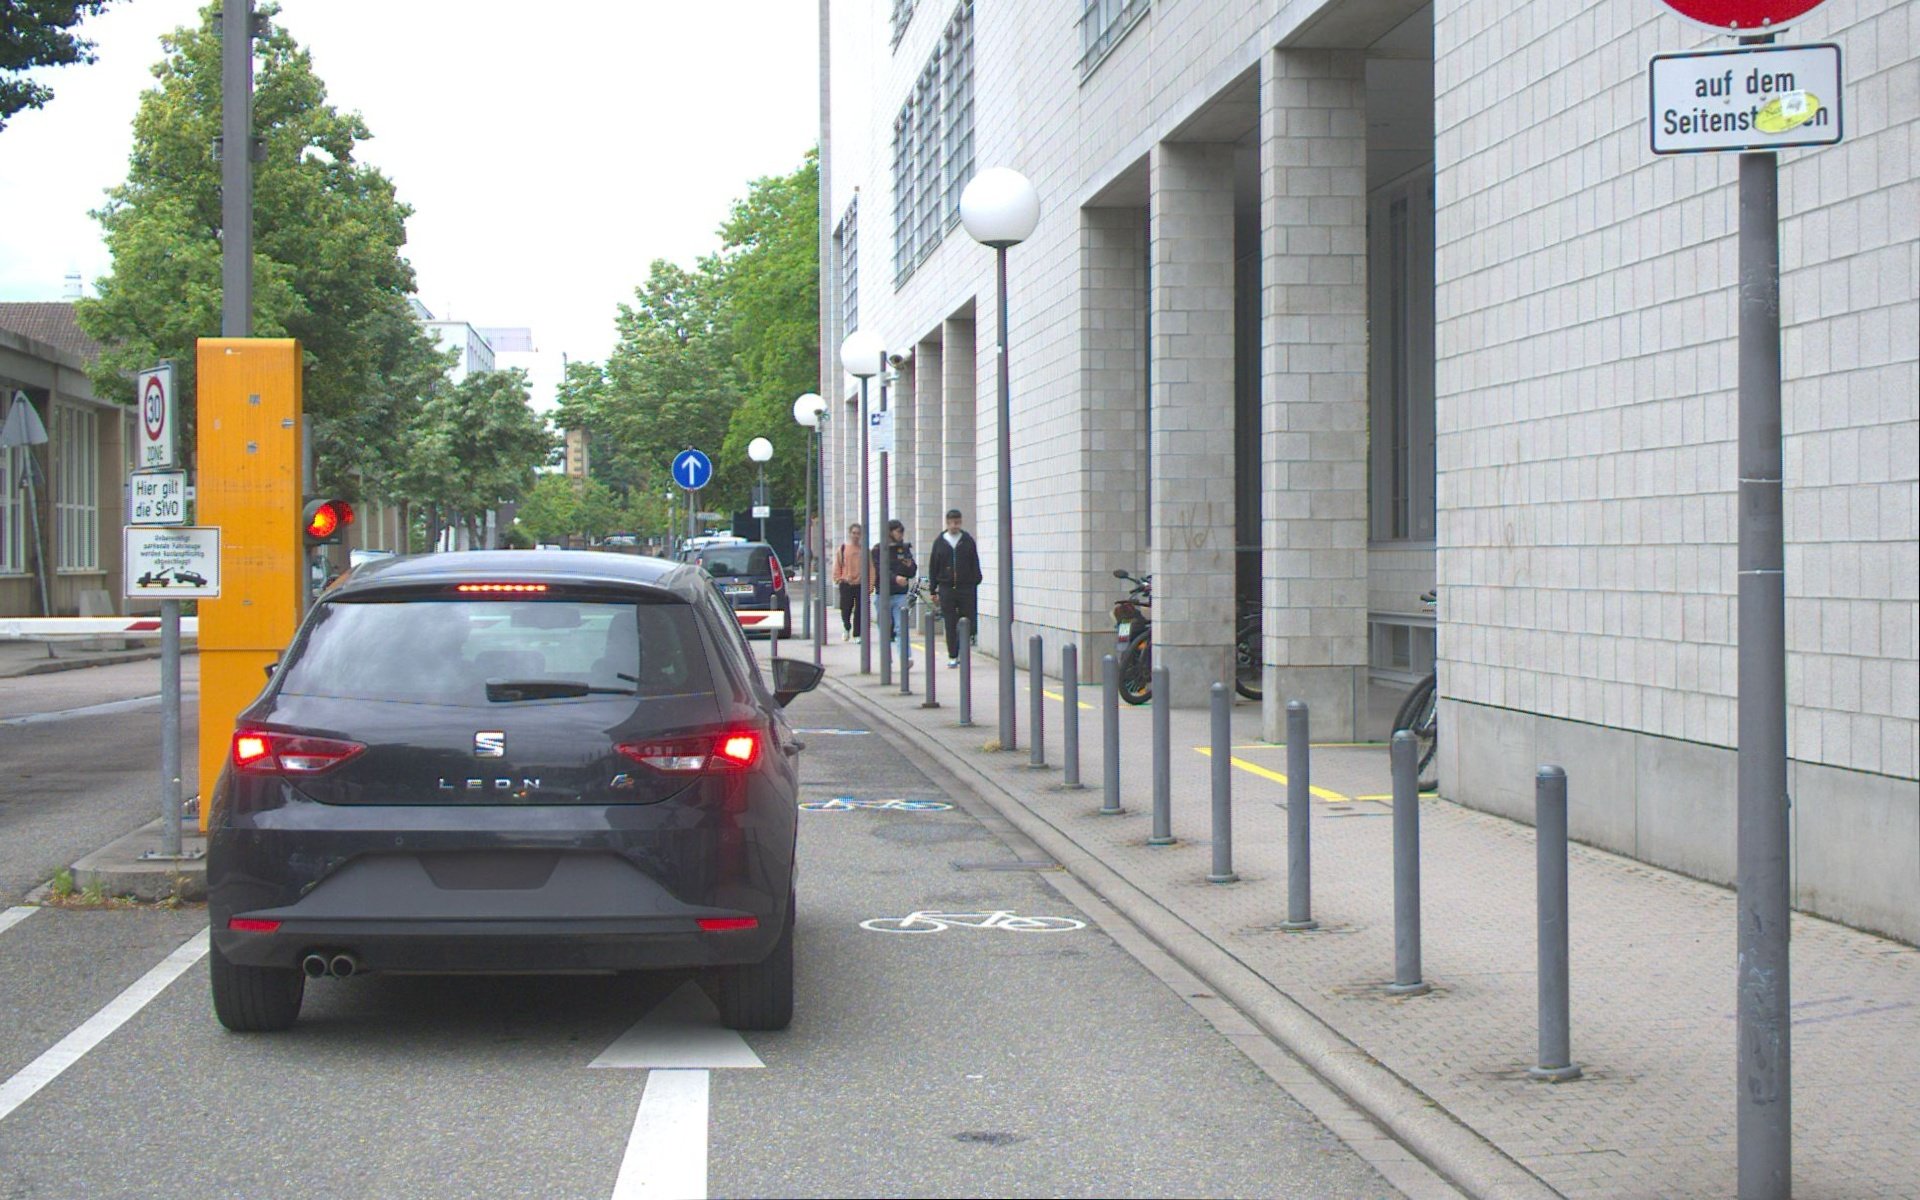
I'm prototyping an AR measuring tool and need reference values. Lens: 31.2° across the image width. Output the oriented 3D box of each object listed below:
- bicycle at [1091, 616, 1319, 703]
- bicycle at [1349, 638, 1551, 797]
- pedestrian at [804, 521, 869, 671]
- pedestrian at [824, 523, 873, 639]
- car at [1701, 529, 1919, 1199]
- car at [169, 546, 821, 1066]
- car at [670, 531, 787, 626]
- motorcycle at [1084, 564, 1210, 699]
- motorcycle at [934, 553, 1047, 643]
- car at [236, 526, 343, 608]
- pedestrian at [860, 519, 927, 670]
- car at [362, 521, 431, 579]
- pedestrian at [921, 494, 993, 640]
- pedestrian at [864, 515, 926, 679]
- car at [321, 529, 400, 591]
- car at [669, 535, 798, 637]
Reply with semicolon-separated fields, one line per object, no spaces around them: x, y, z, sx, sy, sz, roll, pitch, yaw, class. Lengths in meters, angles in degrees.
2.117;0.516;29.790;1.896;0.696;0.493;1;3;-8;bicycle
2.836;0.653;19.706;0.463;0.749;2.292;-4;0;25;bicycle
-1.418;-0.052;39.491;0.696;1.708;0.489;0;1;-5;pedestrian
-1.656;-0.288;51.029;0.696;1.708;0.489;1;1;-1;pedestrian
2.535;0.628;3.809;1.993;1.447;4.923;0;1;-5;car
-1.480;0.540;11.580;1.782;1.414;4.130;0;1;-5;car
-4.250;-0.419;62.552;1.993;1.617;4.429;-2;1;-5;car
1.806;0.279;32.887;0.566;1.144;2.215;2;3;20;motorcycle
0.457;-0.044;49.485;0.760;1.144;2.660;2;3;20;motorcycle
-13.481;-0.683;69.315;1.770;1.595;4.001;0;1;-6;car
-0.768;-0.070;39.599;0.689;1.693;0.588;1;3;-5;pedestrian
-15.951;-1.416;97.500;1.770;1.595;4.001;0;1;-7;car
-0.035;-0.394;40.778;0.727;1.693;0.588;1;3;-10;pedestrian
-0.689;-0.038;36.216;0.611;1.708;0.575;-1;1;-3;pedestrian
-16.023;-1.081;91.977;1.770;1.595;4.001;0;1;-5;car
-3.860;-0.240;58.040;1.993;1.617;4.429;-1;0;-6;car
